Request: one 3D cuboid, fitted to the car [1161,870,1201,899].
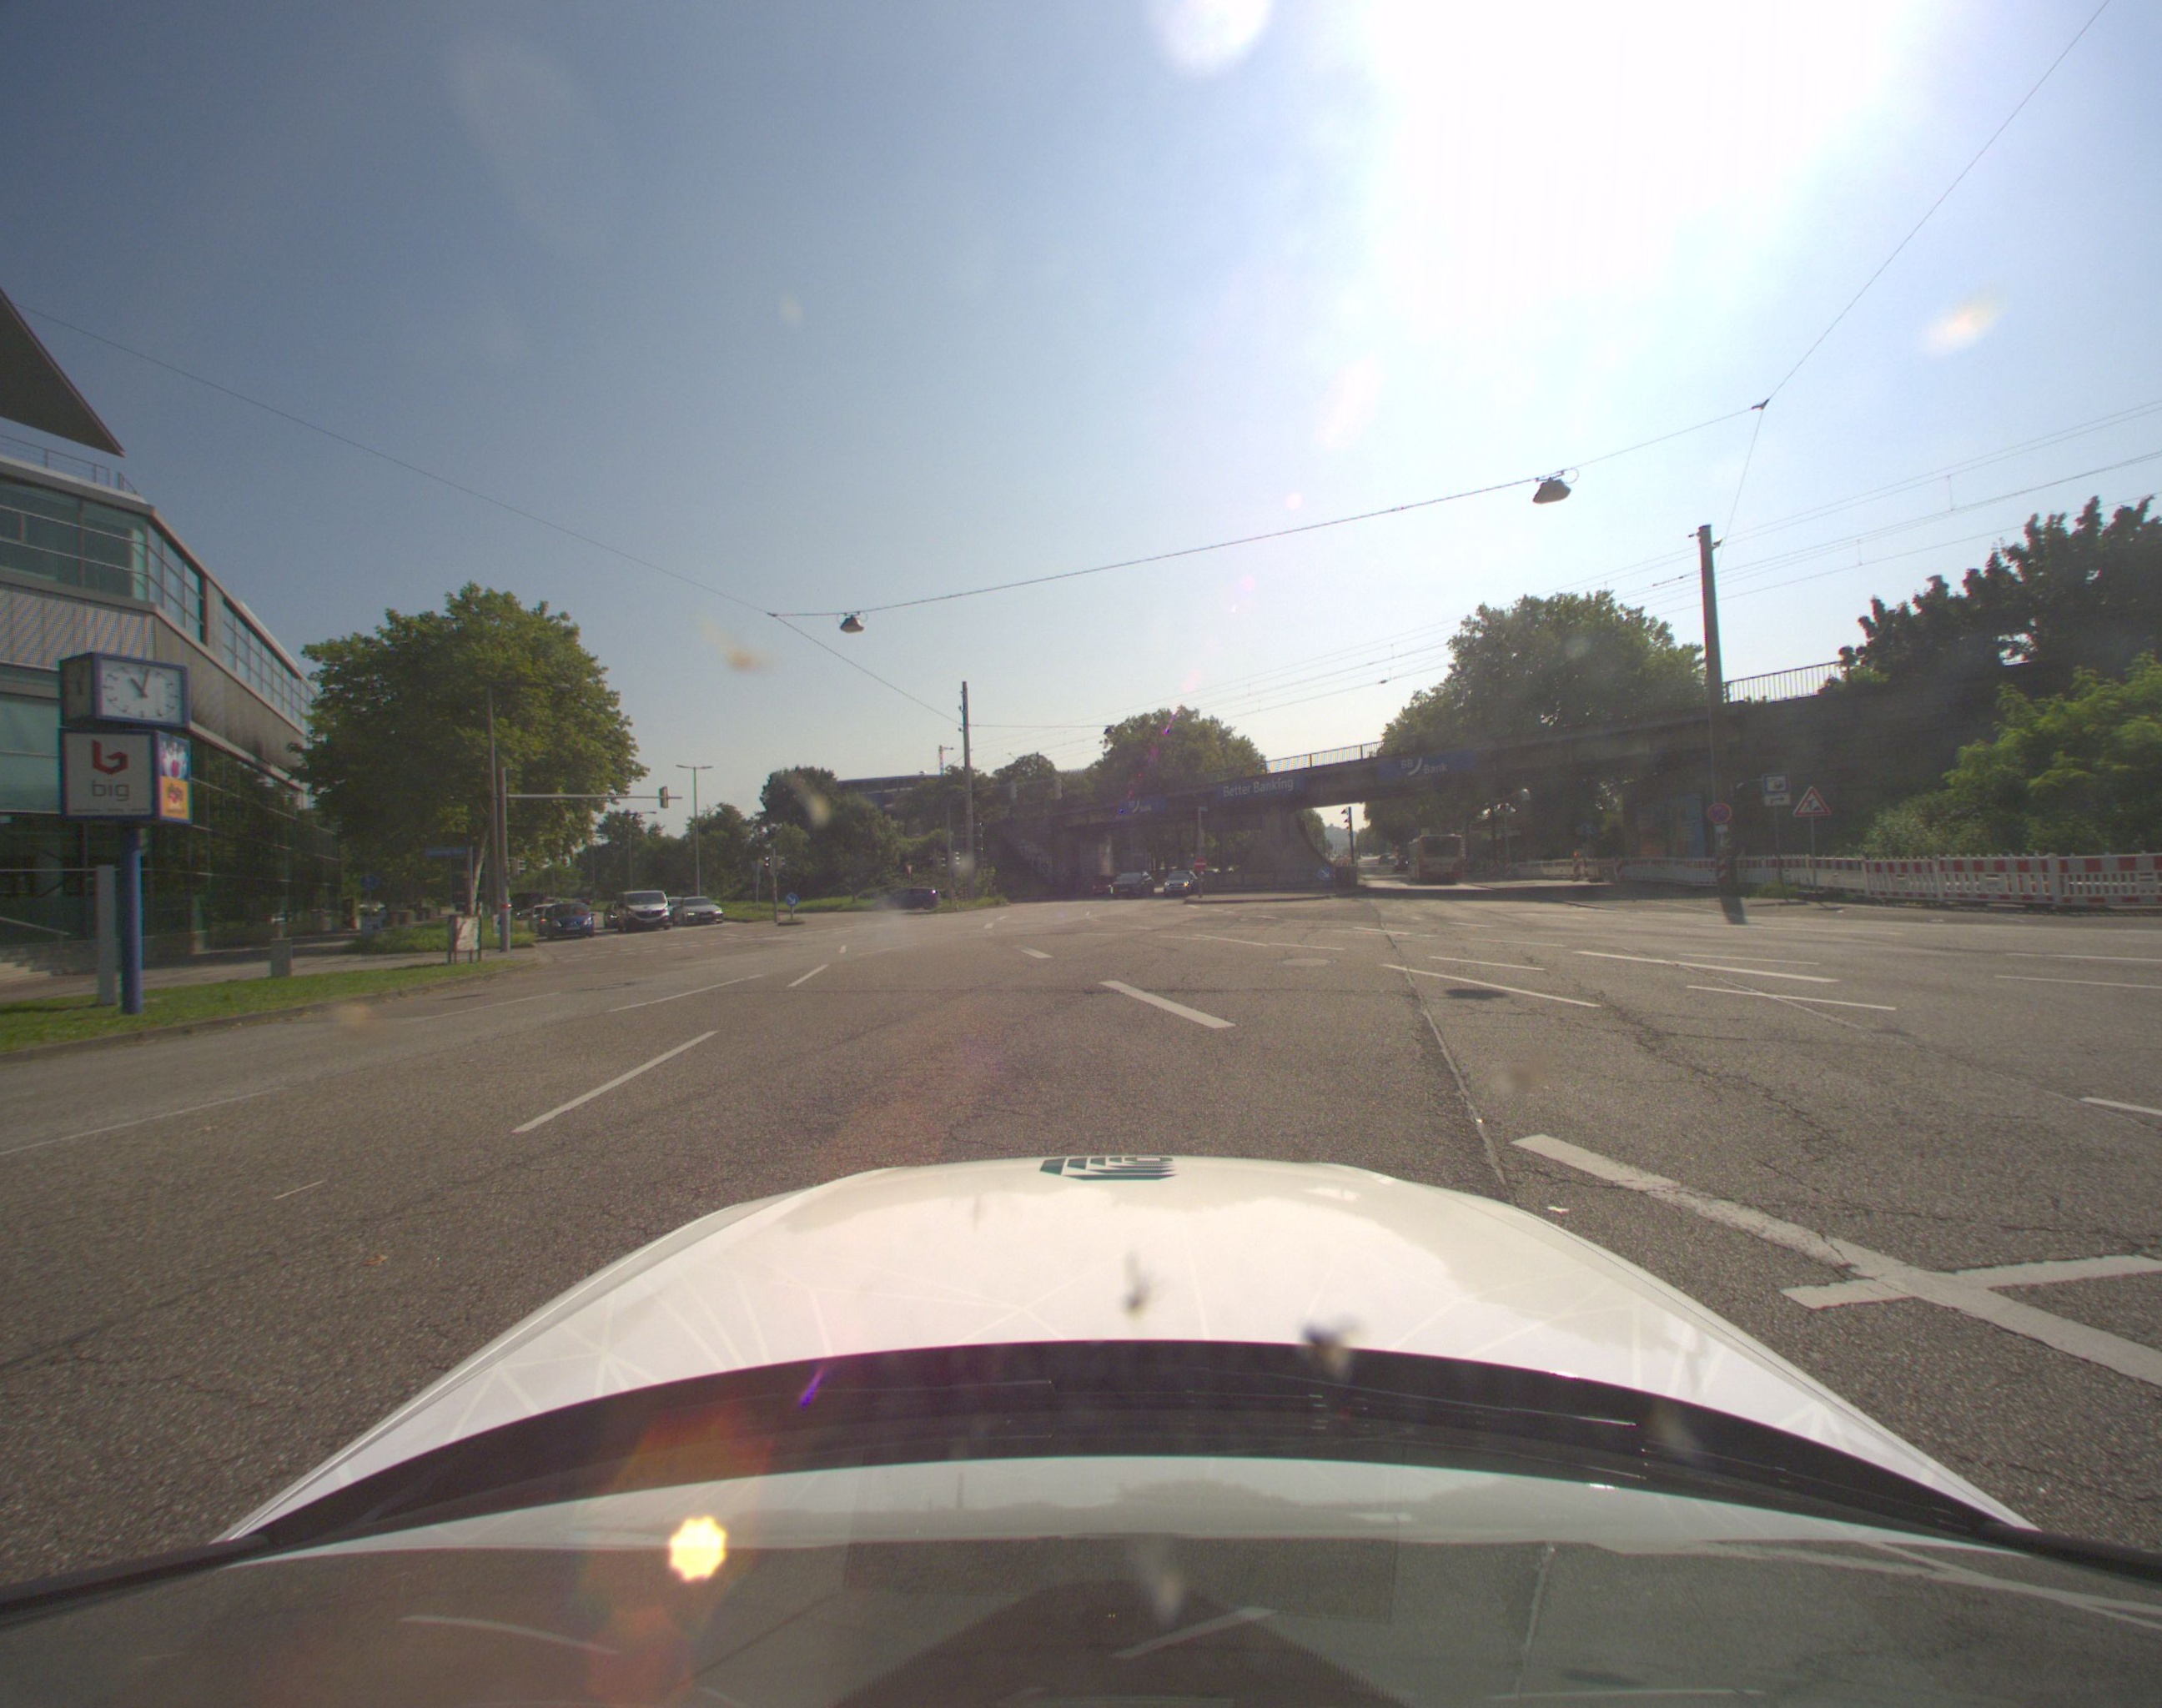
[{"bbox_3d":[5.924,1.737,47.806,1.708,1.538,3.711,-4,-2,15],"label":"car"}]

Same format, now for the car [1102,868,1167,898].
[{"bbox_3d":[3.350,1.759,49.914,1.883,1.617,4.503,-5,-3,34],"label":"car"}]

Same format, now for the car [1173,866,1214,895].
[{"bbox_3d":[7.286,1.684,52.308,1.979,1.573,4.365,-2,1,15],"label":"car"}]

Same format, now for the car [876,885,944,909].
[{"bbox_3d":[-10.881,2.750,52.079,3.975,1.428,1.785,0,-1,-1],"label":"car"}]

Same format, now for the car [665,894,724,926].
[{"bbox_3d":[-20.198,2.910,42.460,1.850,1.443,4.553,-4,-1,-37],"label":"car"}]

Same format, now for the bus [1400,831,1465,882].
[{"bbox_3d":[23.890,0.208,55.940,3.109,3.113,12.347,0,0,19],"label":"bus"}]

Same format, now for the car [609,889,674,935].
[{"bbox_3d":[-21.419,2.760,39.622,1.943,1.958,5.153,-2,-1,-38],"label":"car"}]

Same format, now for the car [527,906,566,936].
[{"bbox_3d":[-30.593,3.812,46.566,1.680,1.535,3.689,-4,-1,-35],"label":"car"}]

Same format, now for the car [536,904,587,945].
[{"bbox_3d":[-23.016,3.072,36.015,1.680,1.535,3.690,-4,0,-35],"label":"car"}]

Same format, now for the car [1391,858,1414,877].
[{"bbox_3d":[34.939,1.420,88.632,1.978,2.014,4.016,0,-1,16],"label":"car"}]

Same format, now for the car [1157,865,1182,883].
[{"bbox_3d":[9.573,2.129,87.413,1.978,1.849,4.017,0,-1,16],"label":"car"}]

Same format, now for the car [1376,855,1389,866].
[{"bbox_3d":[56.786,1.216,153.211,1.978,2.014,4.016,0,-1,16],"label":"car"}]

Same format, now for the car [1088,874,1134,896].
[{"bbox_3d":[2.204,2.199,59.055,1.622,1.467,3.576,0,-1,34],"label":"car"}]
